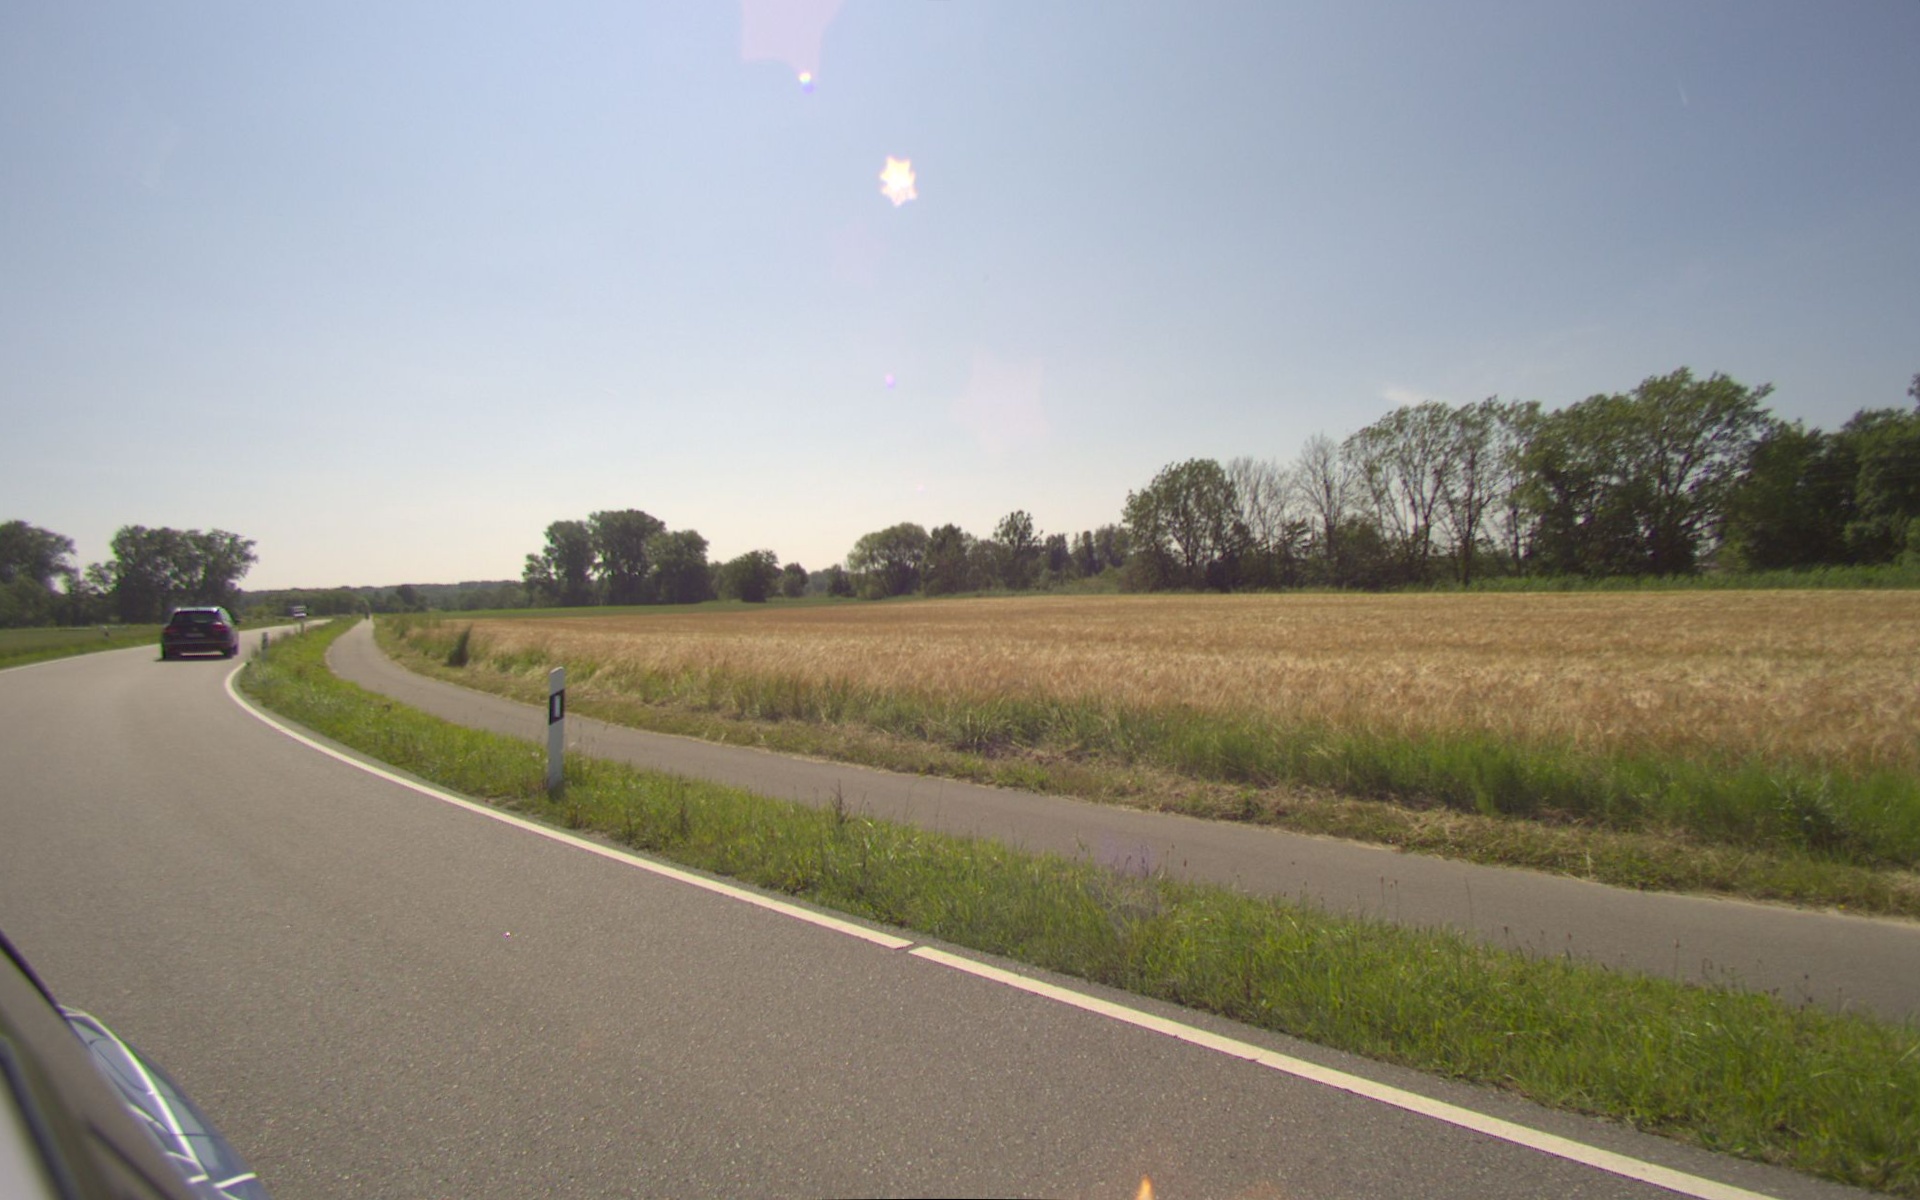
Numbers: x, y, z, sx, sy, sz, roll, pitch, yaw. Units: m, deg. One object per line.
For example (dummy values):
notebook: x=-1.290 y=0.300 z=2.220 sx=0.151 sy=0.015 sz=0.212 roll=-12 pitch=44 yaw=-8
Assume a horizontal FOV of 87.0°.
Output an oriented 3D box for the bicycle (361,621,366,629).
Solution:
bicycle: x=-97.411 y=4.091 z=165.318 sx=0.731 sy=1.180 sz=2.089 roll=-2 pitch=0 yaw=-30

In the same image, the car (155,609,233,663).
car: x=-26.095 y=1.219 z=34.577 sx=1.861 sy=1.728 sz=4.024 roll=1 pitch=-2 yaw=-34

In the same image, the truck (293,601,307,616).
truck: x=-130.403 y=1.730 z=200.057 sx=1.966 sy=2.859 sz=5.233 roll=-2 pitch=0 yaw=-30

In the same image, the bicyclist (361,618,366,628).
bicyclist: x=-97.431 y=3.789 z=165.316 sx=0.731 sy=1.507 sz=1.006 roll=-2 pitch=0 yaw=-30
